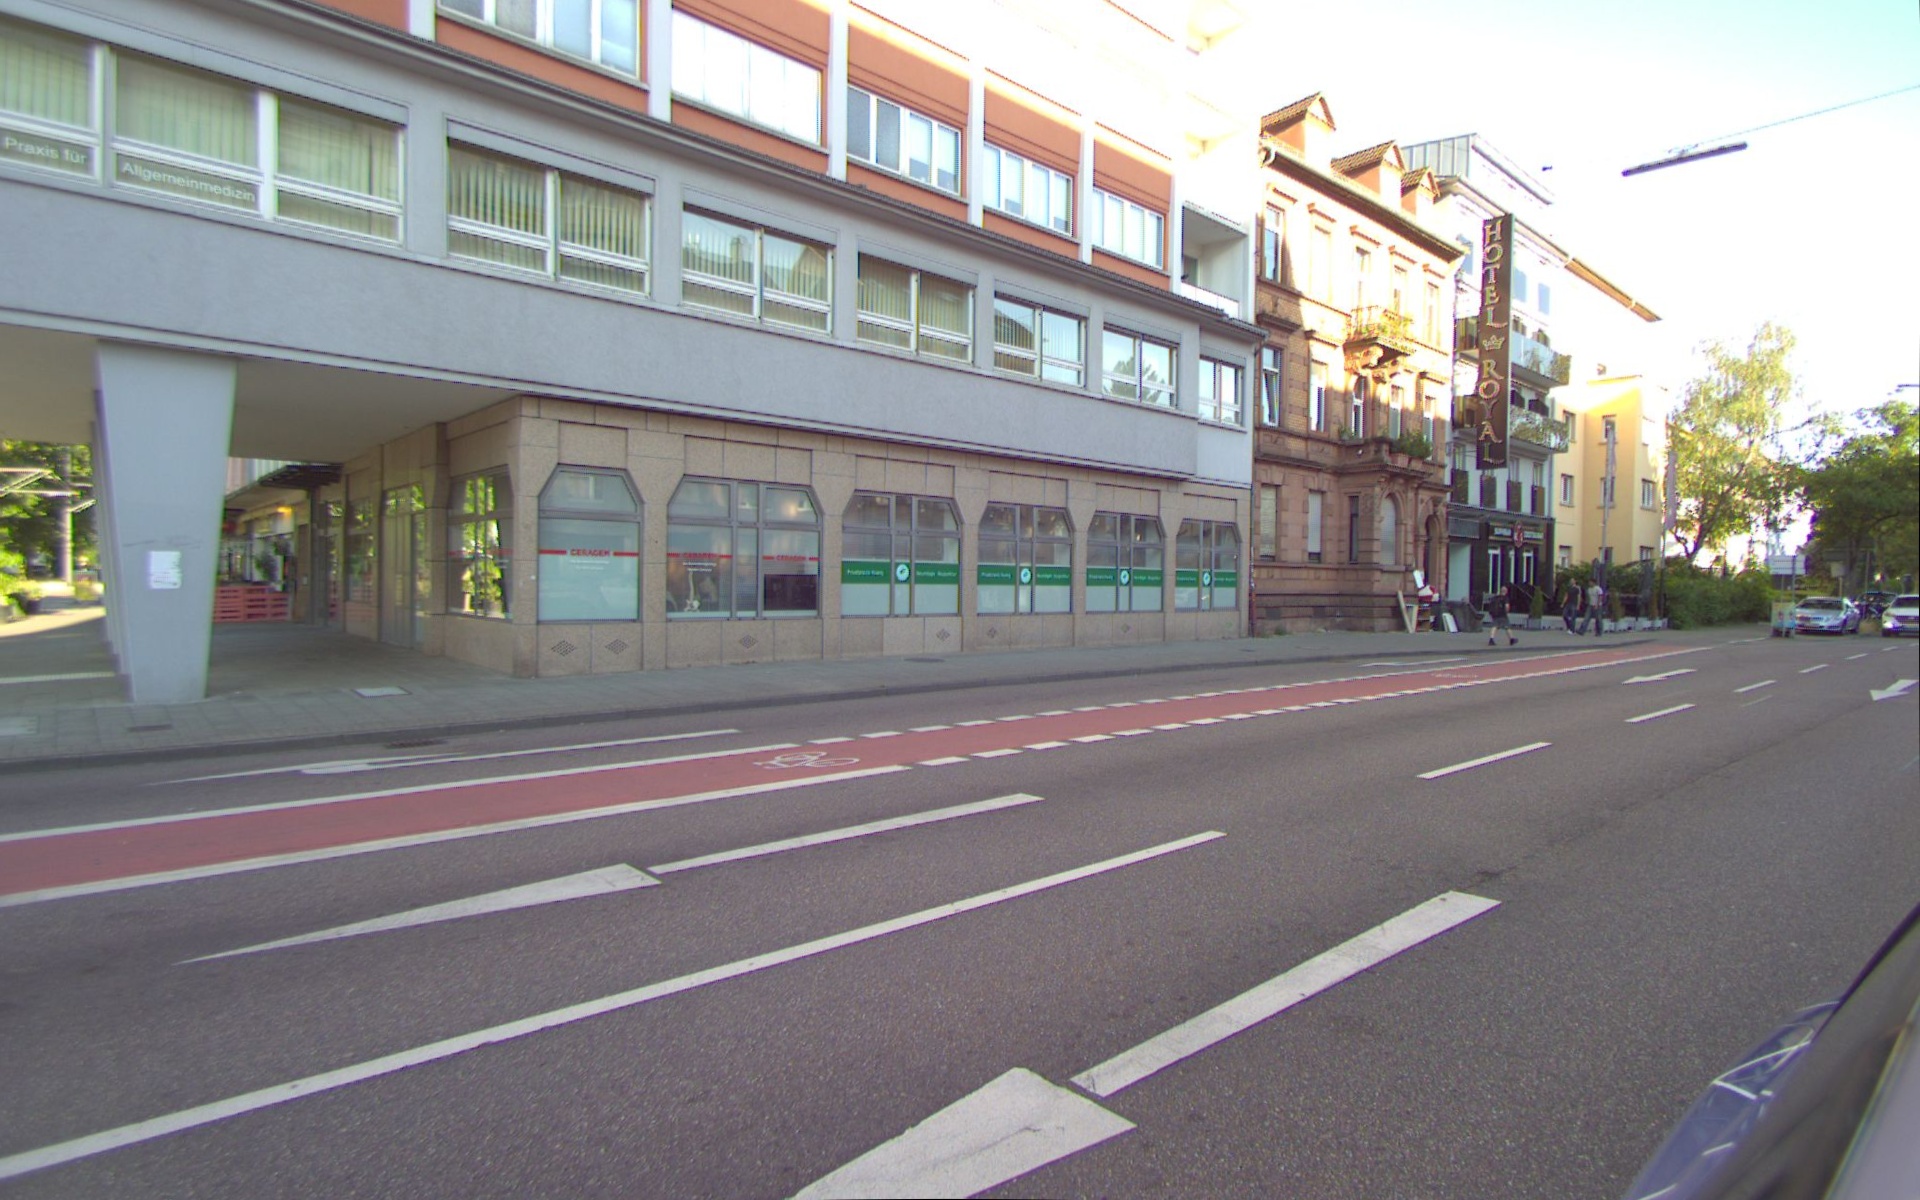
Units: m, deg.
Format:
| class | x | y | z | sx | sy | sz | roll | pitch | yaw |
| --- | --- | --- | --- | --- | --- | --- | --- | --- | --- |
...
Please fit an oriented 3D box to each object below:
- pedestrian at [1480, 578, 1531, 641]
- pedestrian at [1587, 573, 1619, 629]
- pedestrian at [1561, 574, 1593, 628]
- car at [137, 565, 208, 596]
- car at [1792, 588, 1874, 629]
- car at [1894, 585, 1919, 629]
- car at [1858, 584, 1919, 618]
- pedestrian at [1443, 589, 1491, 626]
| class | x | y | z | sx | sy | sz | roll | pitch | yaw |
| --- | --- | --- | --- | --- | --- | --- | --- | --- | --- |
| pedestrian | 14.777 | 0.243 | 27.429 | 0.991 | 1.621 | 0.740 | 0 | 3 | -32 |
| pedestrian | 20.550 | 0.028 | 32.352 | 0.666 | 1.747 | 0.995 | 2 | 1 | 44 |
| pedestrian | 20.068 | 0.023 | 32.930 | 0.666 | 1.747 | 0.995 | 2 | 1 | 43 |
| car | -42.356 | -1.050 | 54.504 | 1.923 | 1.575 | 3.882 | 0 | 1 | -20 |
| car | 34.976 | 0.294 | 40.511 | 4.003 | 1.536 | 1.904 | 0 | 1 | -41 |
| car | 37.863 | 0.239 | 39.285 | 4.195 | 1.627 | 1.920 | -1 | 0 | -41 |
| car | 46.653 | 0.029 | 50.740 | 4.121 | 1.645 | 1.945 | 0 | 1 | -42 |
| pedestrian | 16.069 | 0.224 | 32.066 | 0.909 | 1.150 | 1.098 | 0 | 1 | -43 |
